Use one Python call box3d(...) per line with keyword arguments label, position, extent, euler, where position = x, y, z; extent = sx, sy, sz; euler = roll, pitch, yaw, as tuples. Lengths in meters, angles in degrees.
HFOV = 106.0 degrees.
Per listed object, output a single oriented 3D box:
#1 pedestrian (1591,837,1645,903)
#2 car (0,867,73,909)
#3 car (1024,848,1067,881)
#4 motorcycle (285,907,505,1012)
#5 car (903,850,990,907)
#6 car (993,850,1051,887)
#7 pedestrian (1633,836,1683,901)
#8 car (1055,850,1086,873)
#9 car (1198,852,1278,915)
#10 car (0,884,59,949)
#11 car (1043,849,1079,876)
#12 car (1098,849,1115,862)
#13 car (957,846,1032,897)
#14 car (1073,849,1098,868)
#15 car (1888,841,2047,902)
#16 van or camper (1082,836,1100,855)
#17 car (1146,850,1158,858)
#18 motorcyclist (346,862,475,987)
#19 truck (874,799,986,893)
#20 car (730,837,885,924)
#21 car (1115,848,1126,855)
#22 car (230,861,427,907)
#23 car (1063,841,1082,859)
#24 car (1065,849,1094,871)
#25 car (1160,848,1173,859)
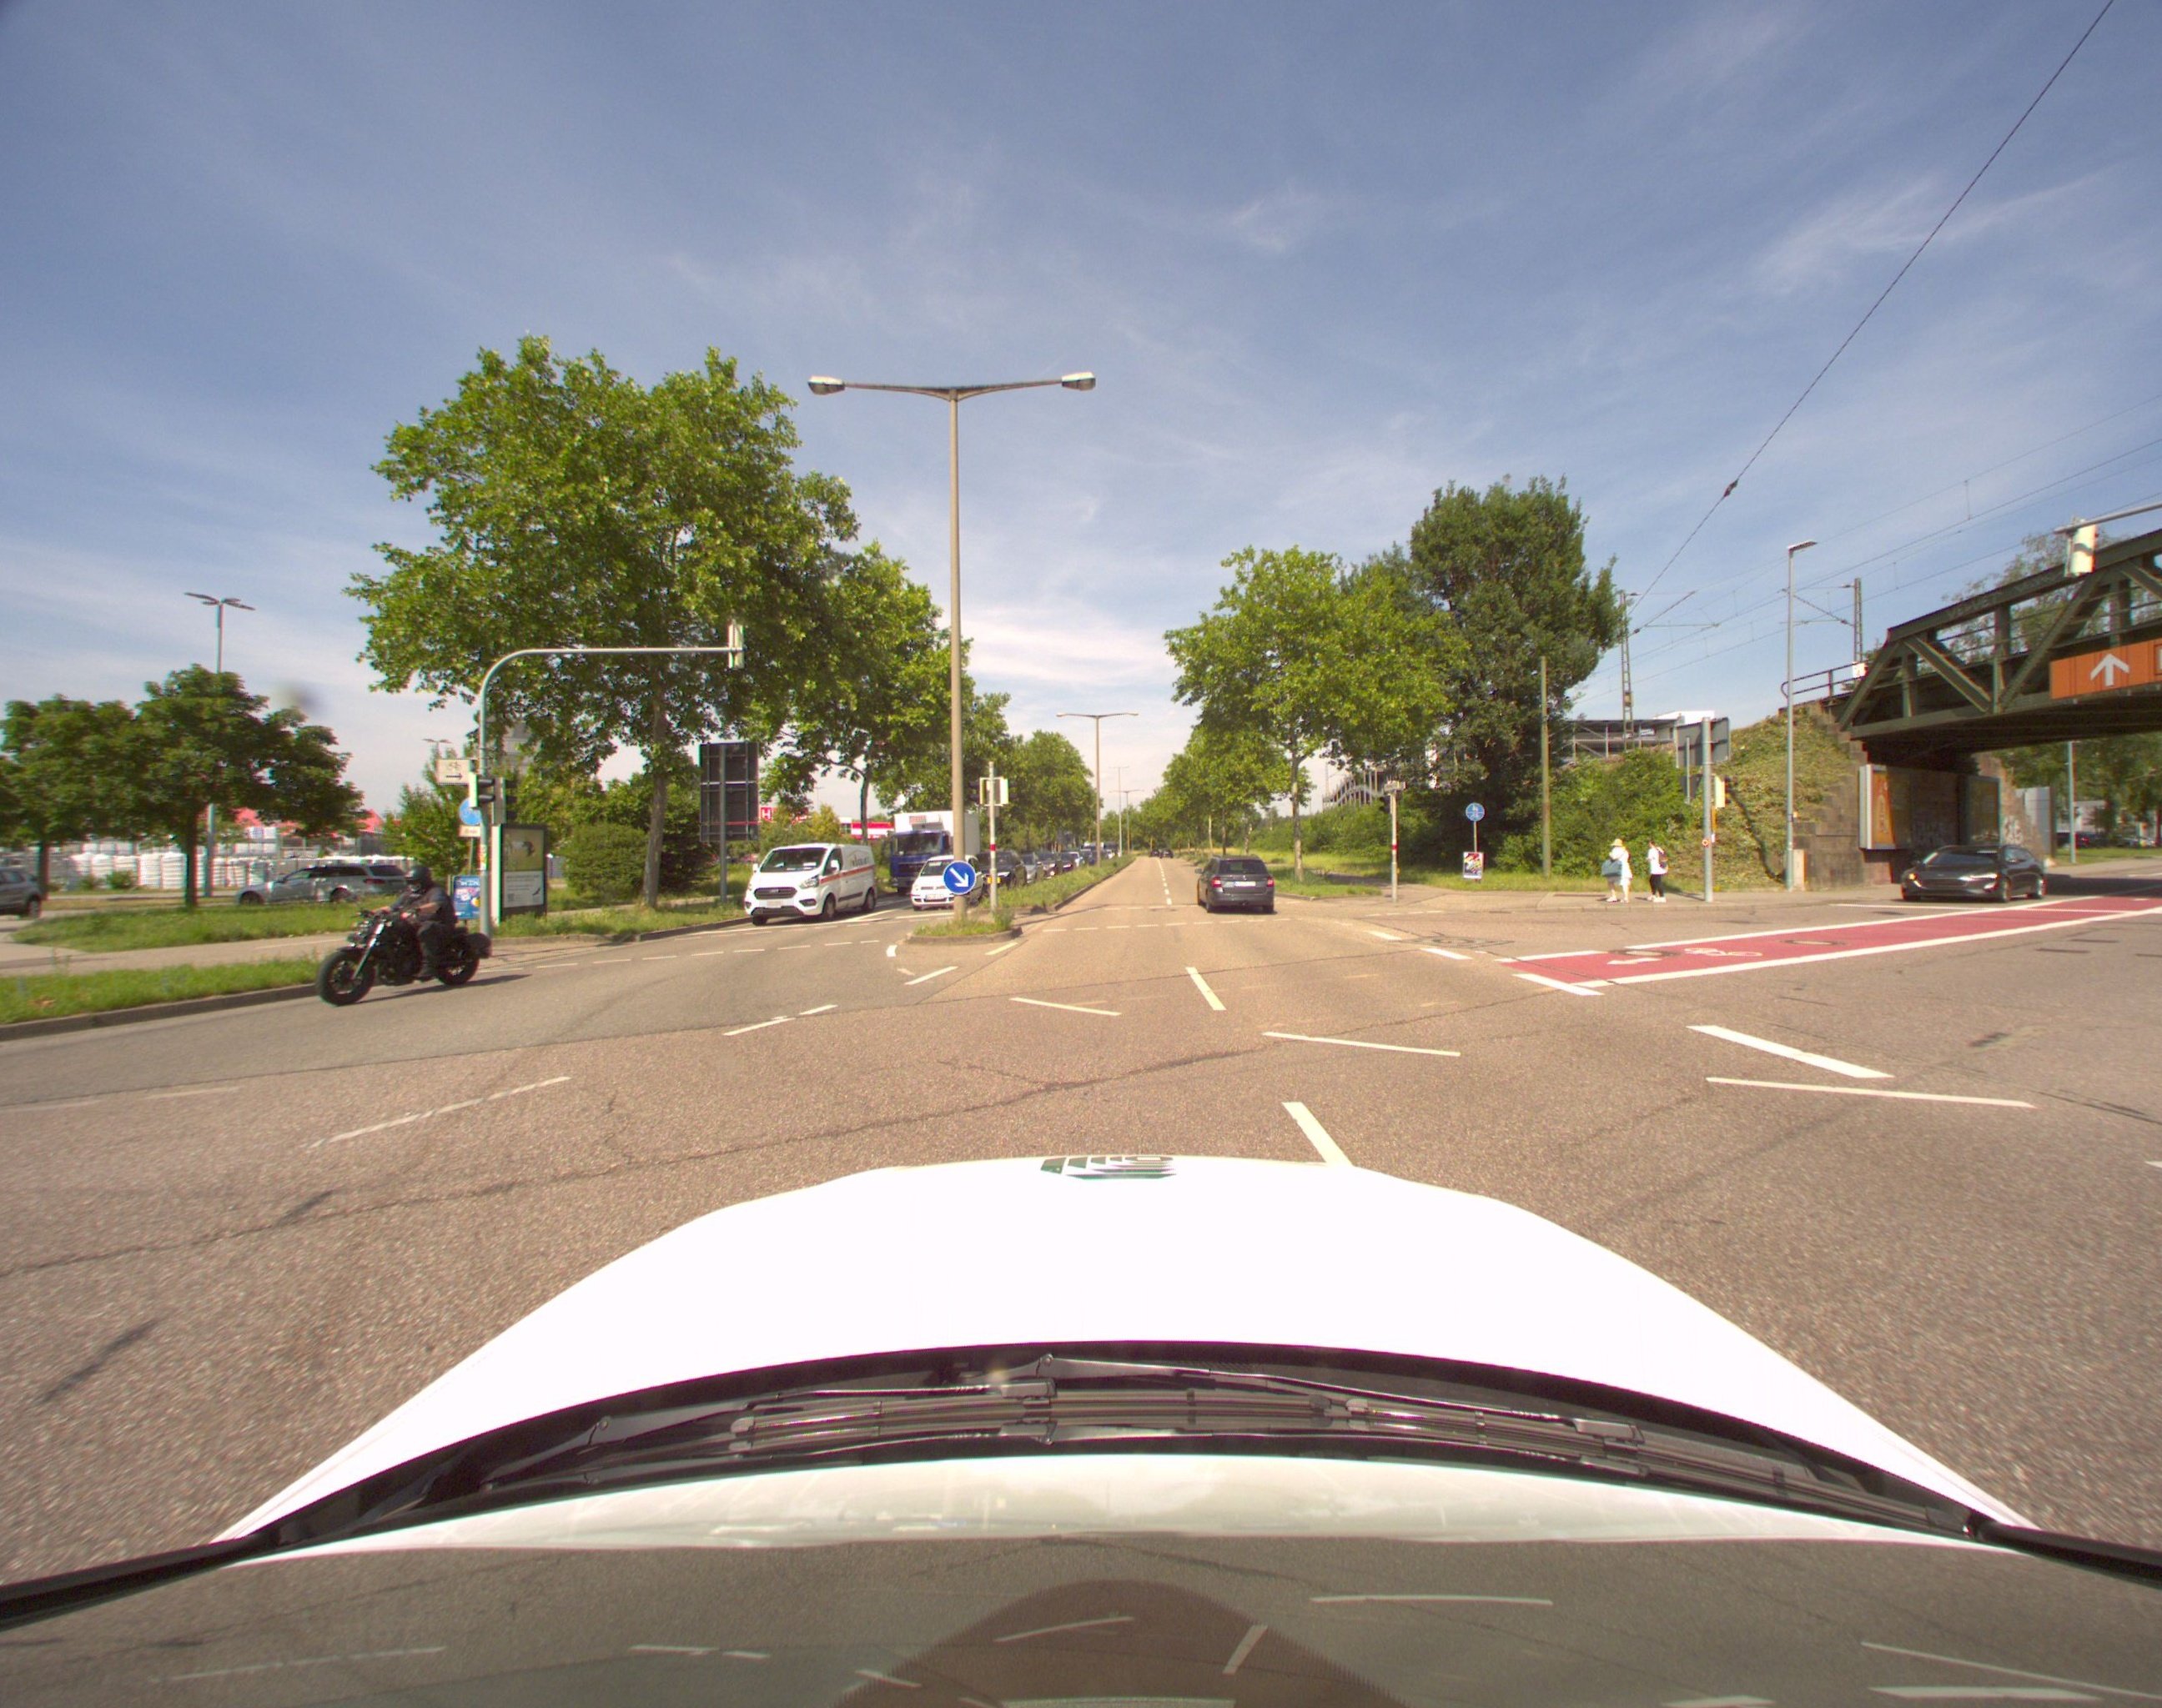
box3d(label="pedestrian", position=(13.428, 0.395, 20.378), extent=(0.864, 1.611, 0.778), euler=(-1, 0, 4))
box3d(label="car", position=(-43.385, 1.354, 32.969), extent=(1.827, 1.572, 4.238), euler=(-1, 0, -31))
box3d(label="car", position=(-1.816, 0.522, 43.320), extent=(1.681, 1.586, 4.246), euler=(-2, 0, 5))
box3d(label="motorcycle", position=(-8.334, 1.233, 10.069), extent=(0.684, 0.991, 2.220), euler=(-1, 1, 5))
box3d(label="car", position=(-3.851, 0.661, 23.910), extent=(1.585, 1.477, 3.735), euler=(-2, 0, 5))
box3d(label="car", position=(-2.552, 0.619, 36.438), extent=(1.788, 1.467, 4.530), euler=(-2, 0, 5))
box3d(label="pedestrian", position=(14.352, 0.356, 20.278), extent=(0.726, 1.579, 0.778), euler=(-1, 0, 4))
box3d(label="car", position=(-0.686, 0.477, 56.107), extent=(1.681, 1.471, 3.820), euler=(-2, 0, 5))
box3d(label="car", position=(4.044, 0.694, 21.483), extent=(1.666, 1.453, 4.042), euler=(1, 1, 5))
box3d(label="car", position=(-29.857, 1.695, 21.725), extent=(2.211, 1.572, 4.525), euler=(-1, 0, -38))
box3d(label="car", position=(-1.211, 0.489, 50.561), extent=(1.681, 1.473, 4.224), euler=(-3, 0, 5))
box3d(label="car", position=(3.061, 0.122, 96.253), extent=(1.775, 1.459, 4.478), euler=(-2, 0, 5))
box3d(label="car", position=(-3.058, 0.612, 29.834), extent=(1.811, 1.646, 4.700), euler=(-2, -1, 5))
box3d(label="car", position=(0.387, 0.390, 68.775), extent=(1.776, 1.489, 4.216), euler=(-2, 0, 4))
box3d(label="car", position=(23.059, 0.400, 21.153), extent=(4.516, 1.409, 1.980), euler=(-1, 0, -32))
box3d(label="van or camper", position=(1.504, -1.198, 117.564), extent=(2.005, 2.587, 5.525), euler=(-2, 0, 5))
box3d(label="car", position=(12.799, -0.012, 146.352), extent=(1.901, 1.463, 4.585), euler=(-1, 1, 2))
box3d(label="motorcyclist", position=(-8.345, 0.844, 10.179), extent=(0.739, 1.470, 0.989), euler=(-1, 0, 5))
box3d(label="truck", position=(-6.193, -0.347, 34.616), extent=(2.790, 3.471, 6.701), euler=(-3, 1, 5))
box3d(label="car", position=(-6.992, 0.590, 21.516), extent=(1.967, 1.999, 5.039), euler=(-1, 1, 5))
box3d(label="car", position=(8.876, -0.592, 184.667), extent=(1.801, 1.510, 3.804), euler=(-1, 1, -8))
box3d(label="car", position=(-25.573, 1.001, 27.830), extent=(4.550, 1.414, 2.199), euler=(-1, 0, -3))
box3d(label="car", position=(-0.917, -0.450, 90.073), extent=(1.681, 1.858, 4.042), euler=(-2, 0, 5))
box3d(label="car", position=(-0.081, 0.449, 63.530), extent=(1.749, 1.530, 4.835), euler=(-2, 0, 5))
box3d(label="car", position=(12.198, -0.082, 116.446), extent=(1.899, 1.463, 4.629), euler=(-1, 1, 5))
